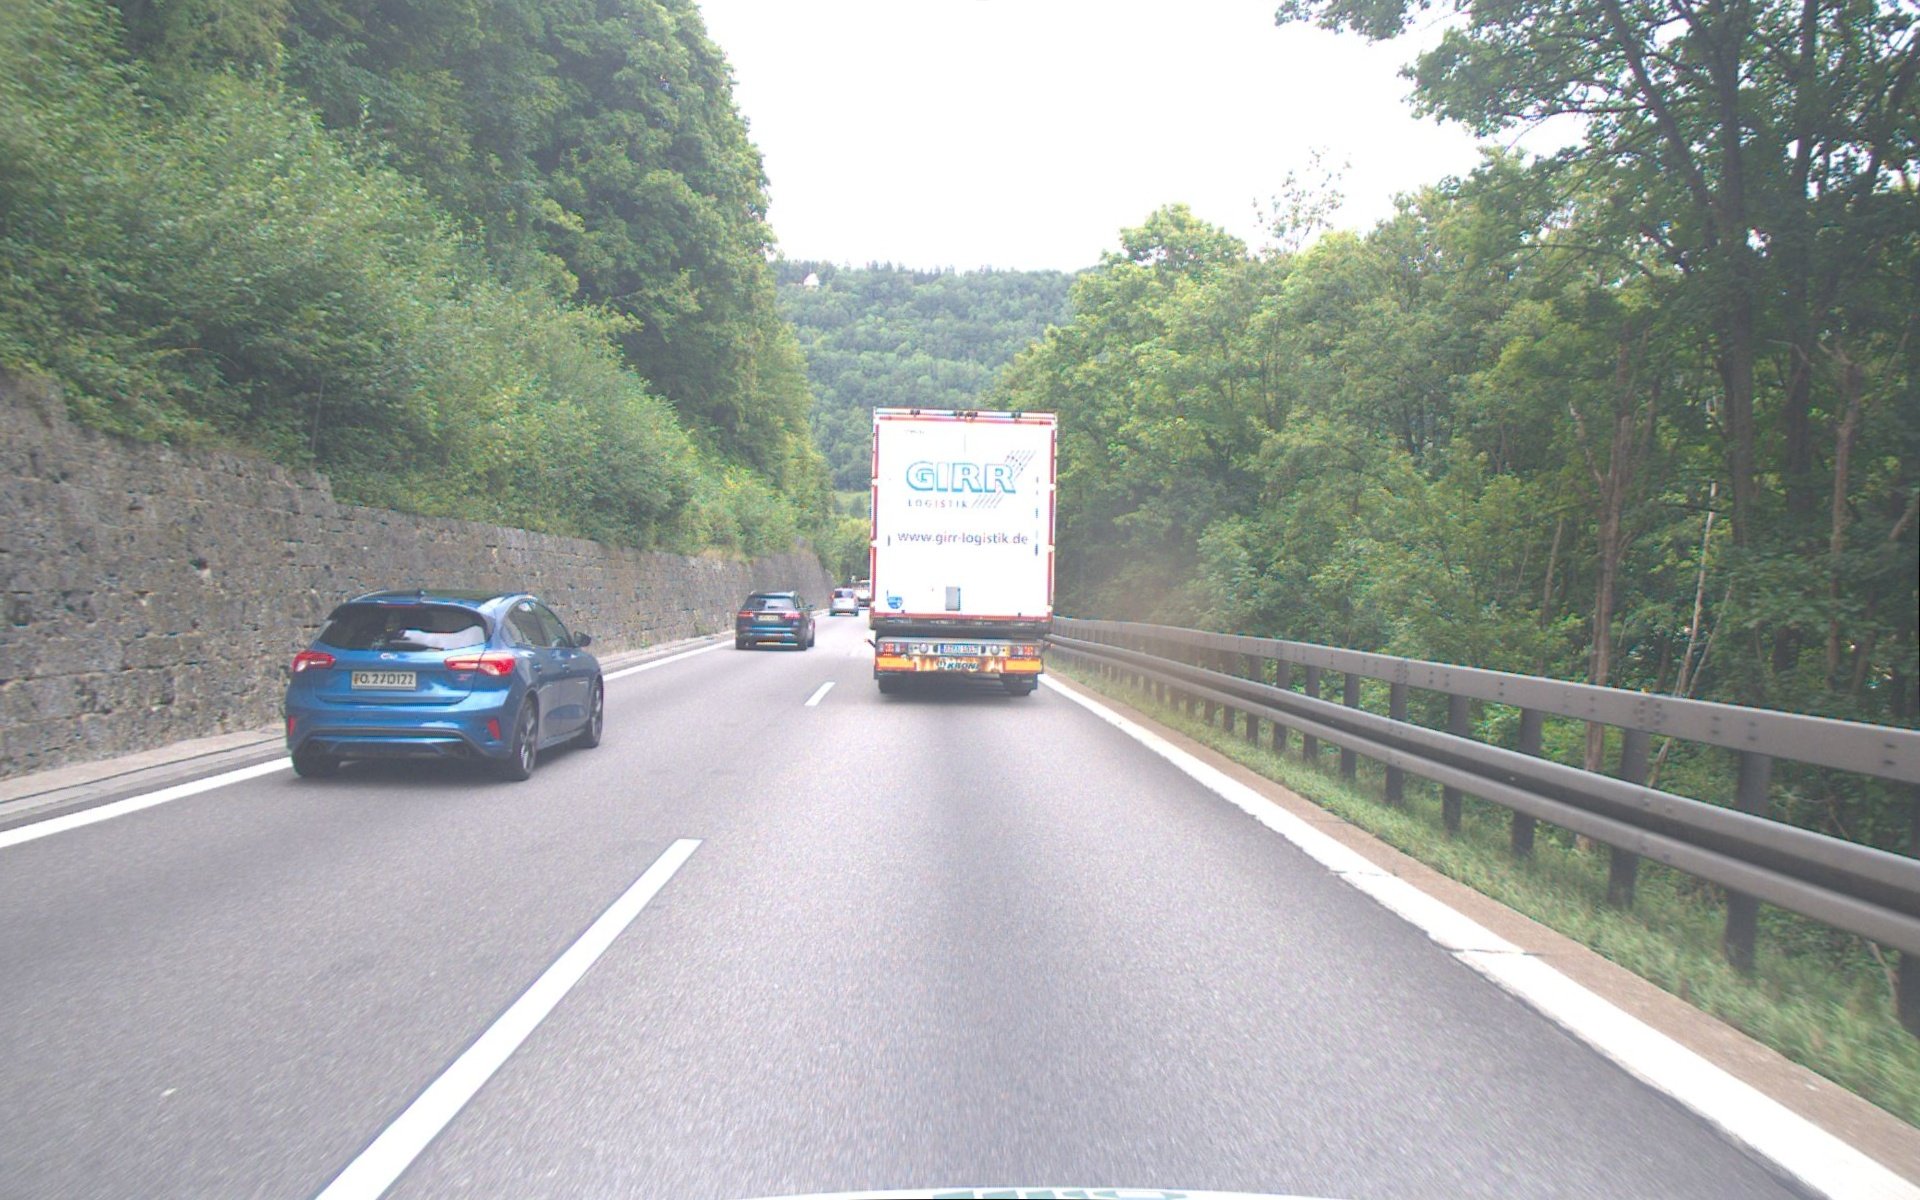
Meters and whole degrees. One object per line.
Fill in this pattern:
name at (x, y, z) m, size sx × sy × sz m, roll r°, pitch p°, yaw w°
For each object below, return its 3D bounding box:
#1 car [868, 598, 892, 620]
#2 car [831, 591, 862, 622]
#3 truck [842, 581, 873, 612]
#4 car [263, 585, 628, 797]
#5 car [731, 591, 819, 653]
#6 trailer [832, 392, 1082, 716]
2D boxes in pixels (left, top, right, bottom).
car at (-7.844, 0.850, 162.920) m, size 1.977 × 1.947 × 5.563 m, roll 3°, pitch 0°, yaw 0°
car at (-6.746, 0.387, 98.310) m, size 1.601 × 1.757 × 4.343 m, roll 2°, pitch 0°, yaw -2°
truck at (-8.201, -0.326, 133.086) m, size 2.302 × 2.313 × 6.846 m, roll 3°, pitch 0°, yaw -3°
car at (-4.158, 0.660, 14.180) m, size 1.799 × 1.494 × 4.553 m, roll 1°, pitch 0°, yaw -2°
car at (-4.804, 0.532, 43.484) m, size 1.724 × 1.489 × 5.122 m, roll 1°, pitch 0°, yaw 0°
trailer at (-0.257, -0.663, 26.877) m, size 3.071 × 4.112 × 9.434 m, roll 4°, pitch 0°, yaw -3°
